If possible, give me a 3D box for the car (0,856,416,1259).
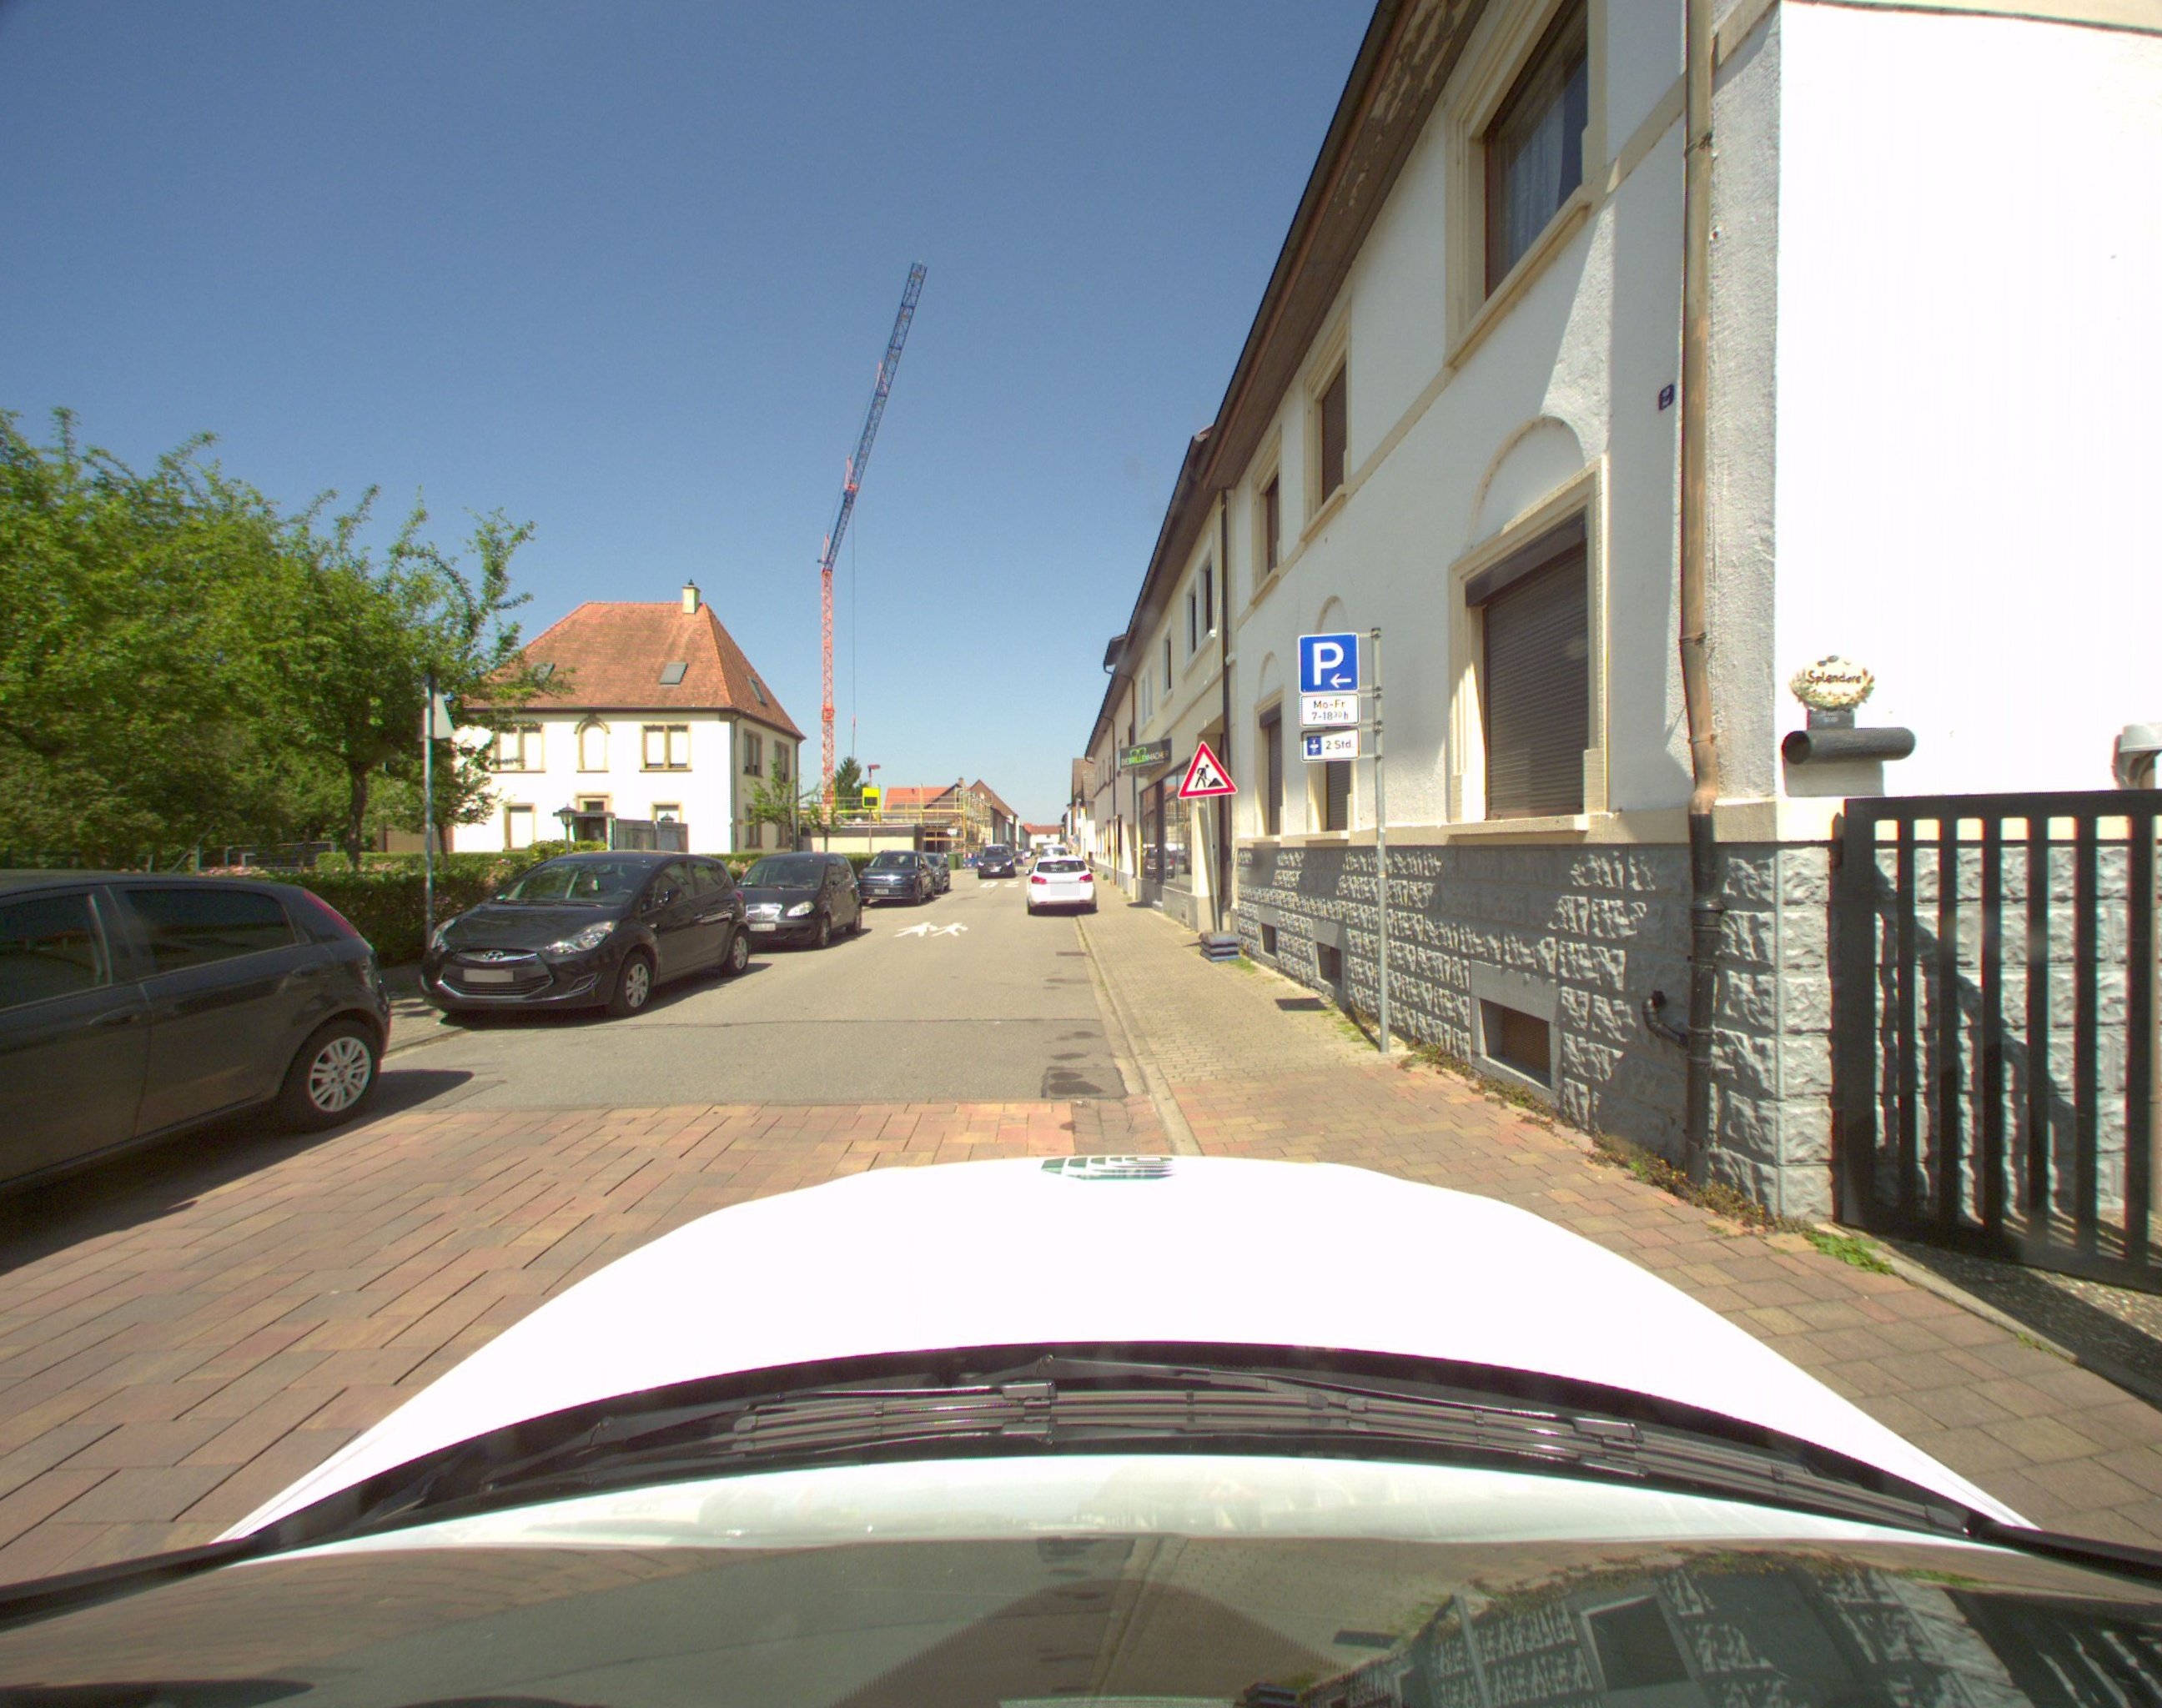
[{"bbox_3d":[-4.927,0.779,3.197,1.700,1.496,3.850,-1,0,-5],"label":"car"}]

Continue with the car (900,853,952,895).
[{"bbox_3d":[-5.825,0.702,30.921,1.433,1.474,3.782,-1,0,-3],"label":"car"}]

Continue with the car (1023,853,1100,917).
[{"bbox_3d":[-0.570,0.749,22.103,1.882,1.542,4.238,-1,0,-3],"label":"car"}]

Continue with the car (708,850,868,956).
[{"bbox_3d":[-5.086,0.757,14.646,1.634,1.628,3.764,-1,0,-3],"label":"car"}]

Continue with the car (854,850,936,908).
[{"bbox_3d":[-5.704,0.704,25.498,1.822,1.630,4.211,-1,0,-4],"label":"car"}]

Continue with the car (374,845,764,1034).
[{"bbox_3d":[-5.207,0.728,9.062,1.810,1.605,4.023,-1,0,-1],"label":"car"}]

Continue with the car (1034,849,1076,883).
[{"bbox_3d":[-1.379,0.574,41.871,1.881,1.556,3.888,-4,1,-5],"label":"car"}]

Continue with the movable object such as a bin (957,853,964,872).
[{"bbox_3d":[-7.486,0.545,50.564,0.431,1.155,0.363,-1,0,-12],"label":"movable object such as a bin"}]

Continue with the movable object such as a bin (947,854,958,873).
[{"bbox_3d":[-7.907,0.560,50.065,0.621,1.155,0.675,-1,0,-10],"label":"movable object such as a bin"}]

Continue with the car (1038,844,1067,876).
[{"bbox_3d":[-1.660,0.320,47.039,1.560,1.613,3.540,-1,2,-2],"label":"car"}]

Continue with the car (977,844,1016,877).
[{"bbox_3d":[-4.448,0.319,43.398,1.878,1.668,4.148,-1,0,-4],"label":"car"}]
